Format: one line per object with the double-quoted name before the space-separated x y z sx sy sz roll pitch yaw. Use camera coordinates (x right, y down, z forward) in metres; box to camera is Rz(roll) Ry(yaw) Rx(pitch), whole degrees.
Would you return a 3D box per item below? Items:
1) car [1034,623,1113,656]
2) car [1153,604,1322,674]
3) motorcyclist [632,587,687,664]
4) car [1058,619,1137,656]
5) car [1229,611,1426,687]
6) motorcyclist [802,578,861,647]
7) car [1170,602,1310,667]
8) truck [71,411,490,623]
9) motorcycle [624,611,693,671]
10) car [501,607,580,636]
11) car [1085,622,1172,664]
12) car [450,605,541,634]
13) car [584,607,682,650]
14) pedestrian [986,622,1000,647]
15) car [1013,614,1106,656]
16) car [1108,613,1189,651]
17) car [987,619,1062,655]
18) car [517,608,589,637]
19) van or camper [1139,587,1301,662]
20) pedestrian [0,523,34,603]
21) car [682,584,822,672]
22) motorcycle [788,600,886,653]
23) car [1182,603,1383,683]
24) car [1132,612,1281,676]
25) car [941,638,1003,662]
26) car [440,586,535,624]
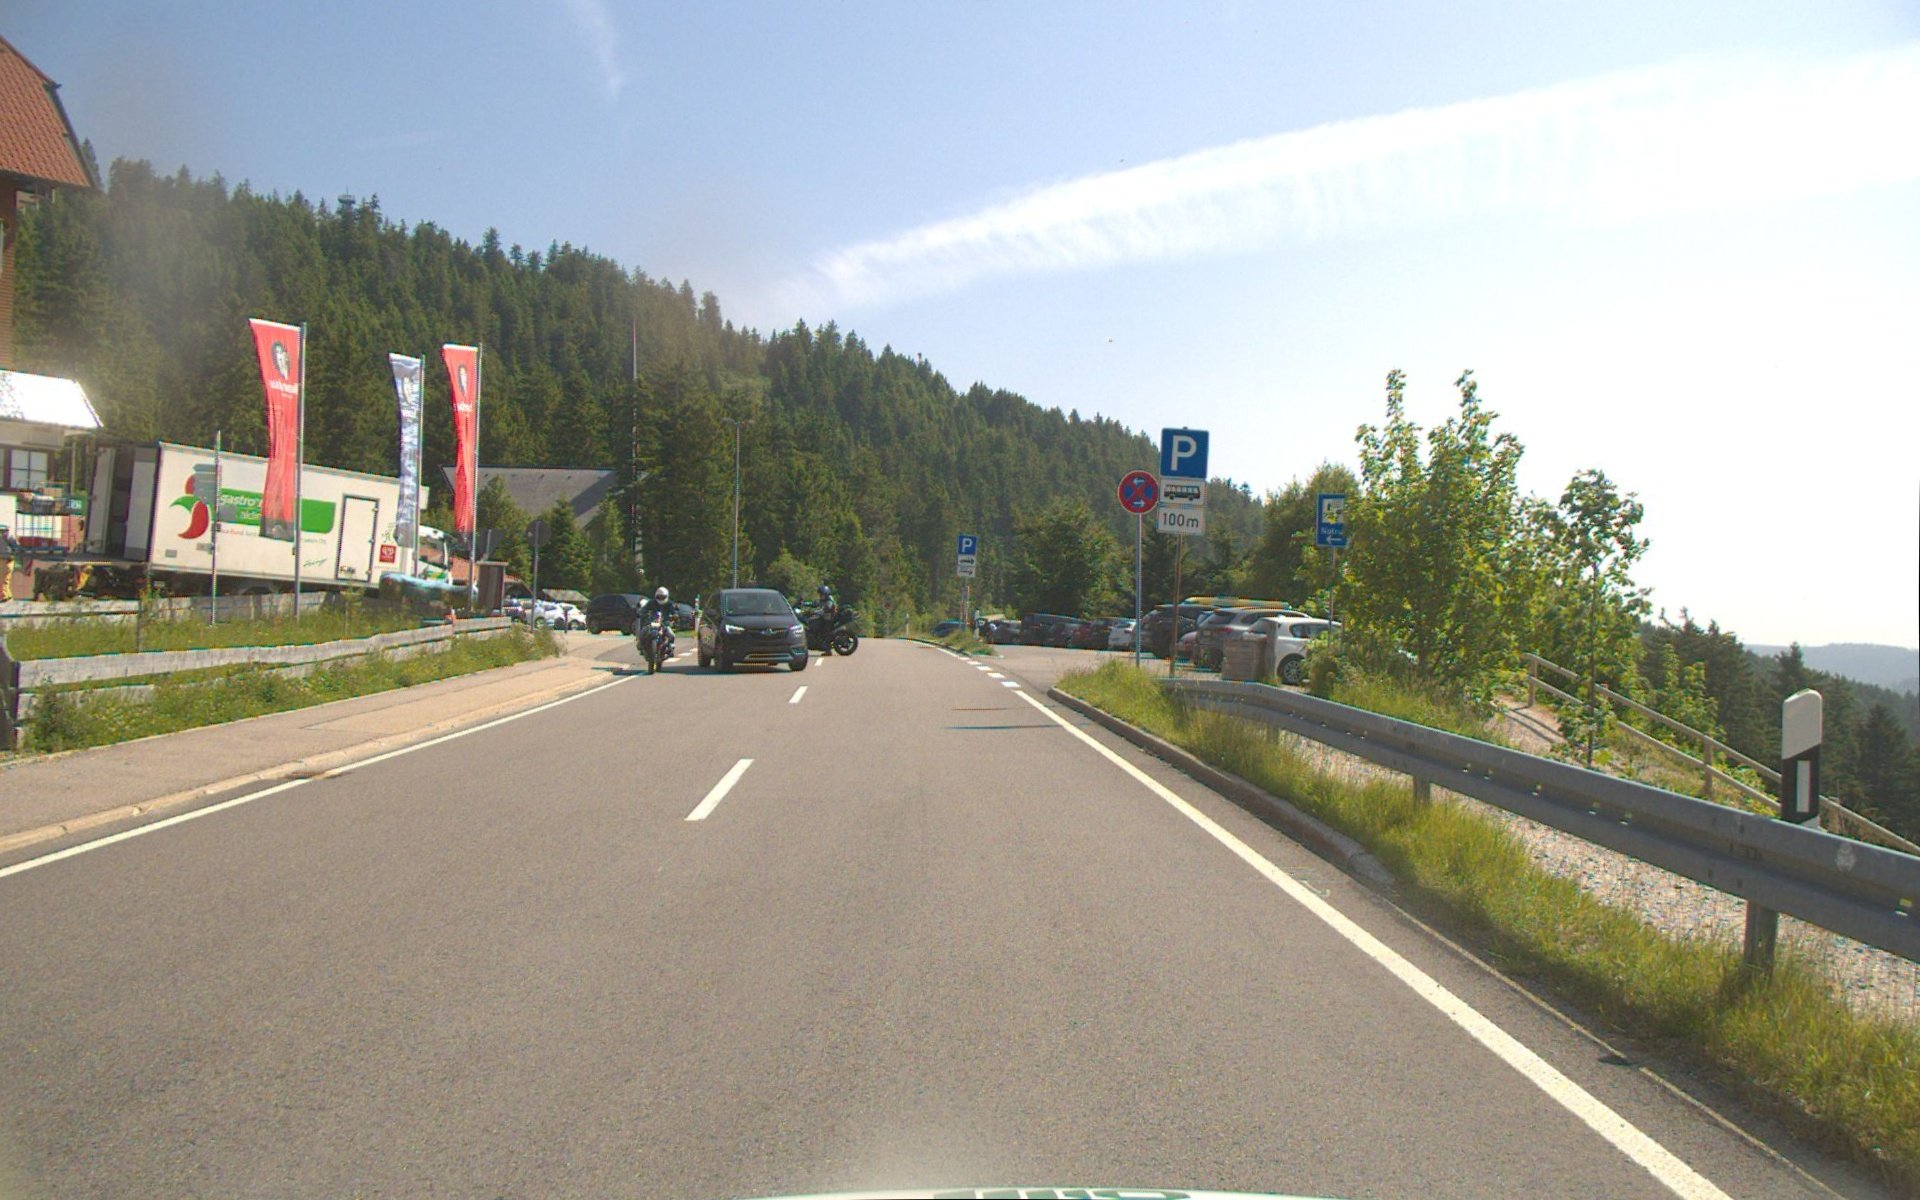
"car" 6.180 2.138 89.891 3.948 1.439 1.726 6 -2 -32
"car" 7.241 1.016 43.262 3.919 1.536 1.836 4 0 -14
"motorcyclist" -5.868 0.496 32.275 0.828 1.466 0.997 0 -1 -25
"car" 7.270 1.965 87.185 3.966 1.617 1.835 6 -3 -42
"car" 8.206 1.092 37.007 3.920 1.410 1.651 4 -1 -14
"motorcyclist" -3.164 0.300 40.651 1.275 1.670 0.877 1 0 -19
"car" 7.834 0.959 46.493 3.510 1.521 1.647 4 0 -3
"truck" -15.672 -1.776 39.015 3.007 4.041 8.744 4 -1 33
"motorcycle" -5.906 0.791 32.308 0.828 1.115 2.166 0 -1 -24
"car" -23.914 1.219 94.433 1.963 1.601 3.978 0 -1 40
"car" 8.511 2.179 83.482 4.237 1.724 1.961 6 -3 -42
"car" -23.043 0.992 82.116 3.968 1.395 1.783 1 0 -44
"car" -12.889 1.101 65.071 4.121 1.567 1.795 1 0 44
"pedestrian" 1.941 2.037 96.965 0.757 1.427 0.669 1 -1 2
"car" 5.563 1.945 92.445 4.694 1.912 1.952 5 -2 -24
"car" 9.275 1.582 81.216 3.966 1.502 1.741 6 -3 -42
"car" 3.837 2.219 98.711 3.947 1.690 1.979 9 -4 -31
"car" -24.716 1.395 100.452 1.743 1.701 4.010 -1 -2 39
"van or camper" 8.619 0.822 55.154 4.987 2.048 1.882 5 0 0
"pedestrian" -20.817 -0.802 36.284 0.563 1.719 0.651 1 -1 32
"car" -4.257 0.534 33.327 1.951 1.645 4.125 0 0 -20
"motorcycle" -3.032 0.646 40.664 2.285 1.287 0.809 1 0 -19
"car" 7.771 1.033 39.968 4.324 1.595 1.900 4 -1 -15
"car" 7.291 1.287 49.073 3.914 1.642 1.912 3 -1 -10
"car" 0.940 3.894 127.750 4.390 1.321 1.572 8 -3 -21
"car" -22.511 0.240 78.894 3.970 1.734 1.796 1 -1 -45
